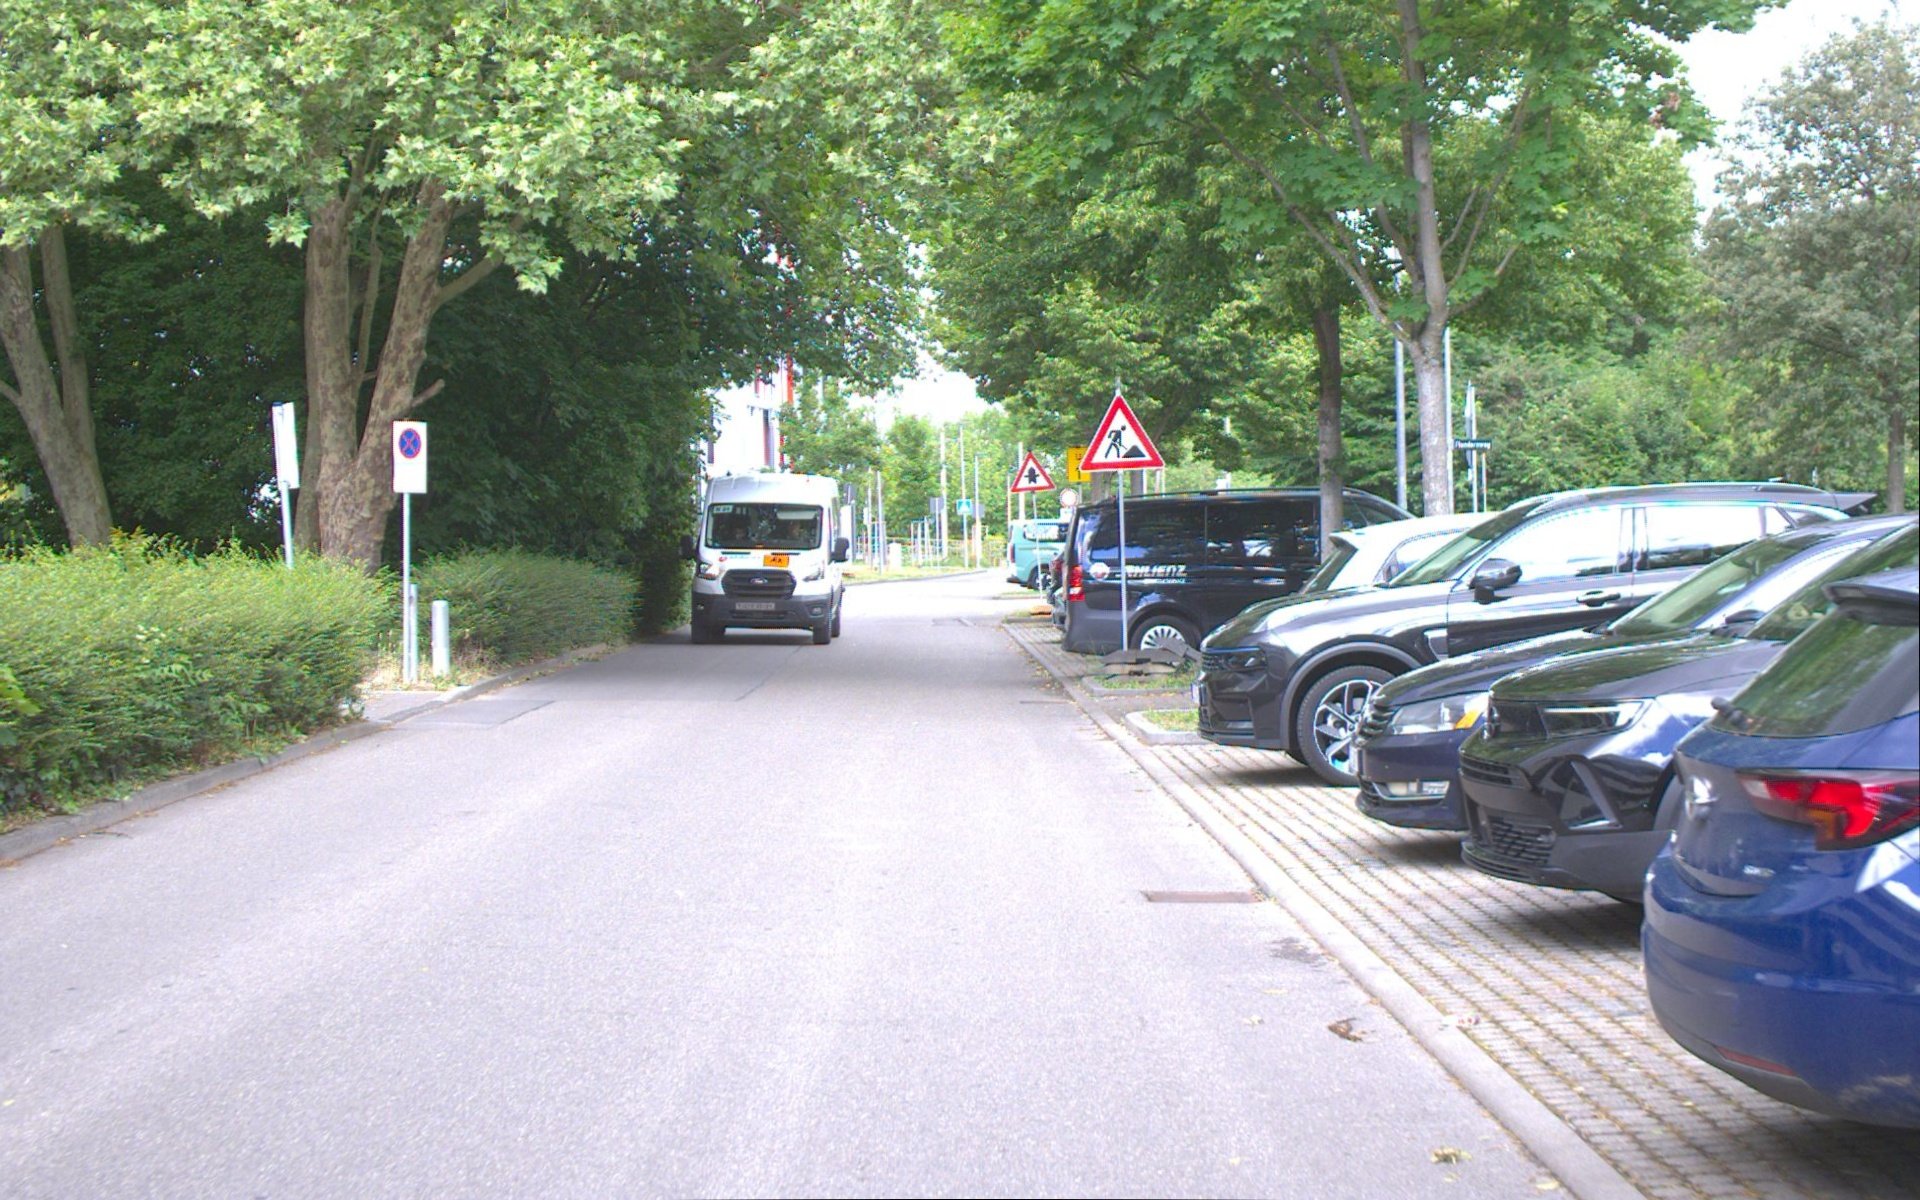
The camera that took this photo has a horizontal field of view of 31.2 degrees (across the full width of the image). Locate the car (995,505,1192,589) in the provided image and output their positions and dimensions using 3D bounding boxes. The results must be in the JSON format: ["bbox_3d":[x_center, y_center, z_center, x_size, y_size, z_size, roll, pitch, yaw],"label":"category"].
[{"bbox_3d":[3.447,-1.383,89.426,4.972,1.965,1.847,-2,1,1],"label":"car"}]

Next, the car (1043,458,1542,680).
[{"bbox_3d":[3.410,-0.334,36.081,4.954,2.007,2.166,-3,1,1],"label":"car"}]

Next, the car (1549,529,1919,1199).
[{"bbox_3d":[3.530,0.517,7.654,4.072,1.451,1.851,-2,1,0],"label":"car"}]

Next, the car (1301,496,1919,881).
[{"bbox_3d":[3.961,0.314,15.473,4.636,1.512,1.983,-2,2,1],"label":"car"}]

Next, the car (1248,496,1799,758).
[{"bbox_3d":[3.743,0.149,23.272,3.379,1.569,1.796,-2,2,0],"label":"car"}]

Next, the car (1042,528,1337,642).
[{"bbox_3d":[3.220,-0.216,48.883,3.987,1.425,1.936,-2,0,-1],"label":"car"}]

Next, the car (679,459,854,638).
[{"bbox_3d":[-2.788,-0.789,50.986,2.132,2.467,6.277,1,1,1],"label":"car"}]

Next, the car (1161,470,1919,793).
[{"bbox_3d":[3.521,0.149,20.658,4.415,1.670,2.082,-2,2,-1],"label":"car"}]

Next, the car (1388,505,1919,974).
[{"bbox_3d":[3.784,0.400,12.544,4.072,1.512,1.851,-2,1,-4],"label":"car"}]

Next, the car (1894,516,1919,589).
[{"bbox_3d":[20.875,-0.966,67.987,4.393,1.423,1.703,-1,1,6],"label":"car"}]
